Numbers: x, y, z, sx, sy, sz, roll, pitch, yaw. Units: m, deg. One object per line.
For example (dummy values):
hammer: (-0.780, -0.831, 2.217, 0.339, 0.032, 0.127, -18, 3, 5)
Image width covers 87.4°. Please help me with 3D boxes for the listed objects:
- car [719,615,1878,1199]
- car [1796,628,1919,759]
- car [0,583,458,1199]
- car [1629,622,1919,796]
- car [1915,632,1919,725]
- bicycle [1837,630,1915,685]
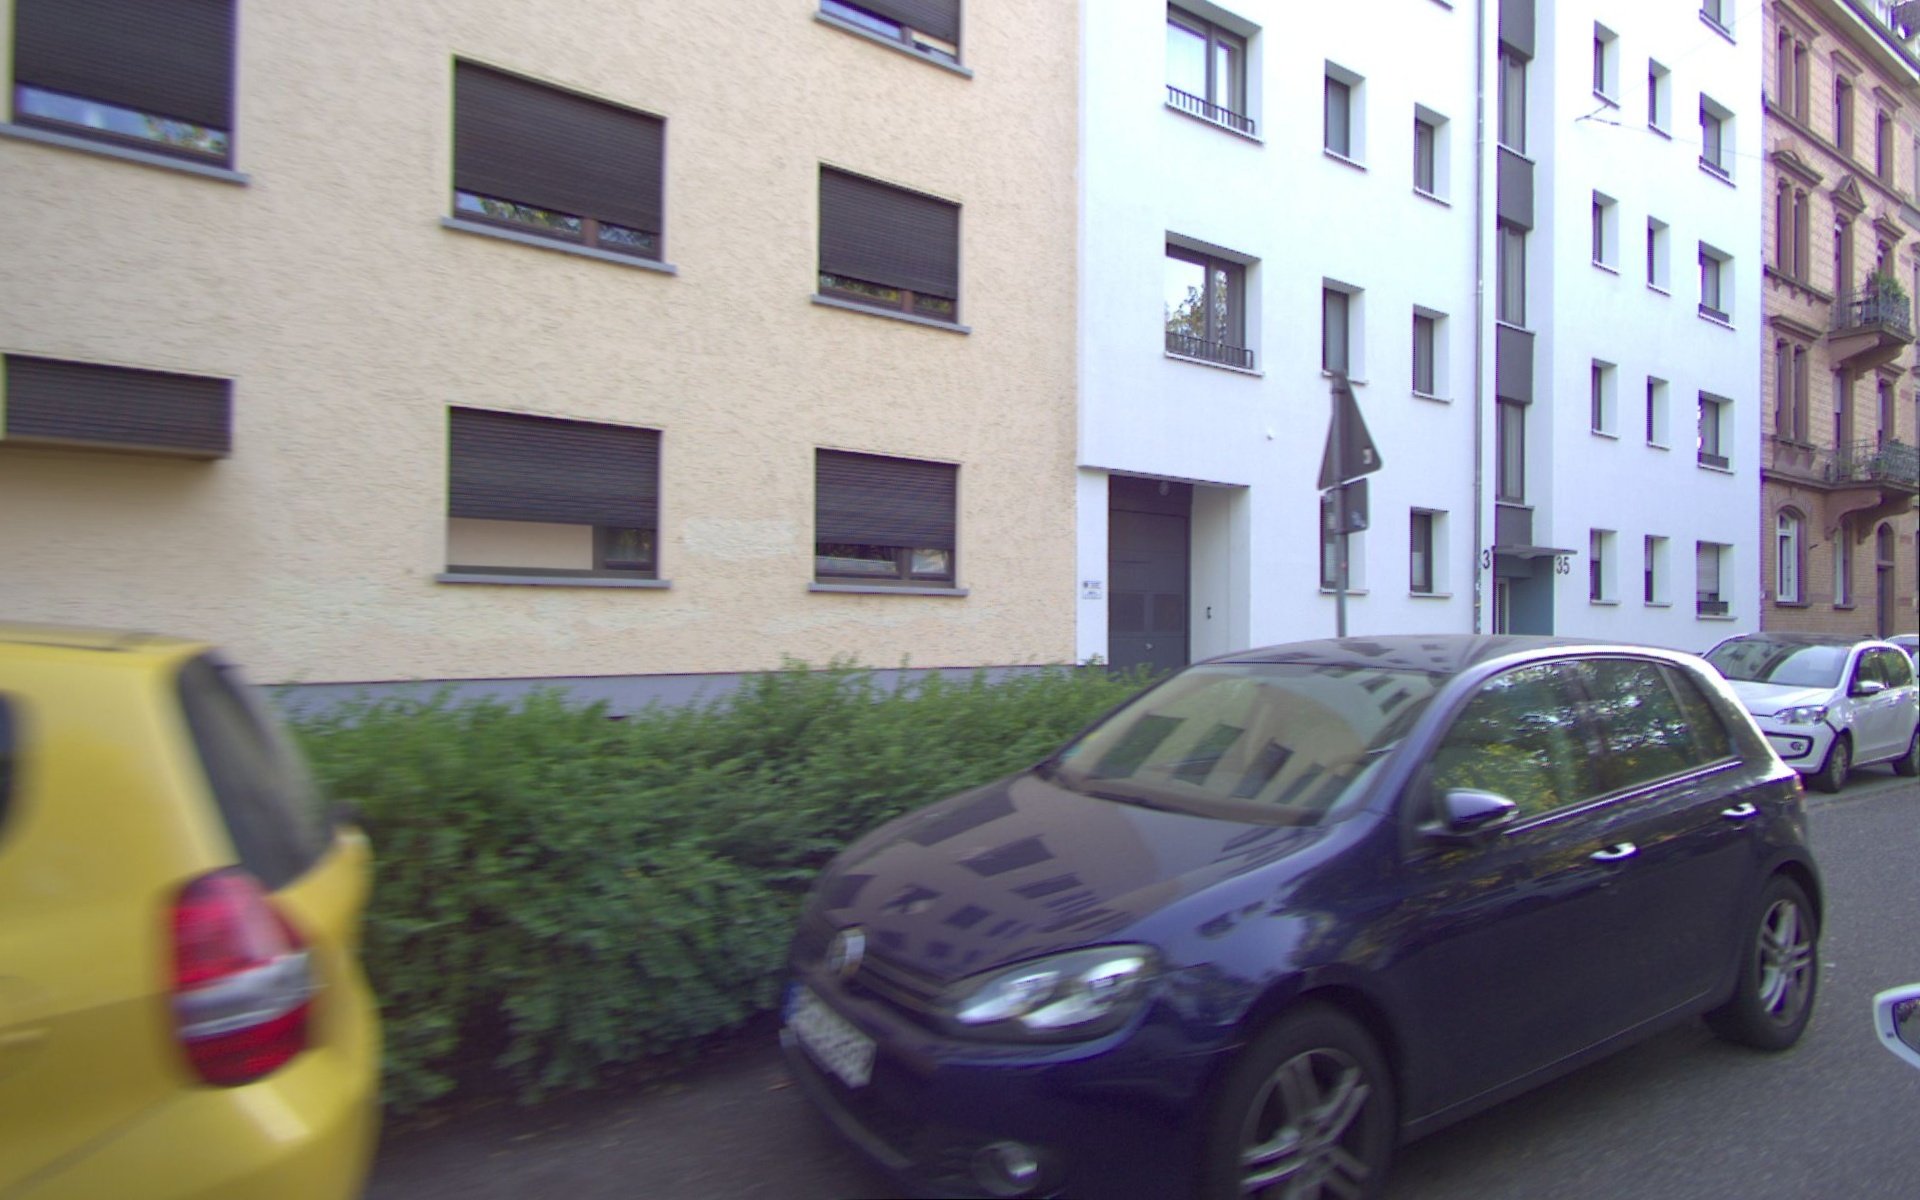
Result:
car: (1.345, 0.843, 3.542, 3.954, 1.498, 1.731, 1, -2, -31)
car: (13.090, 1.186, 13.415, 4.236, 1.491, 1.659, 1, 2, -32)
car: (-2.836, 0.738, 1.323, 3.733, 1.545, 1.693, 2, -2, -33)
car: (9.260, 1.065, 11.072, 3.957, 1.528, 1.658, 1, 2, -33)
car: (17.289, 1.291, 16.257, 3.953, 1.471, 1.608, 1, 1, -30)
bicycle: (22.094, 1.365, 24.212, 2.485, 1.223, 0.733, 0, 0, -32)
